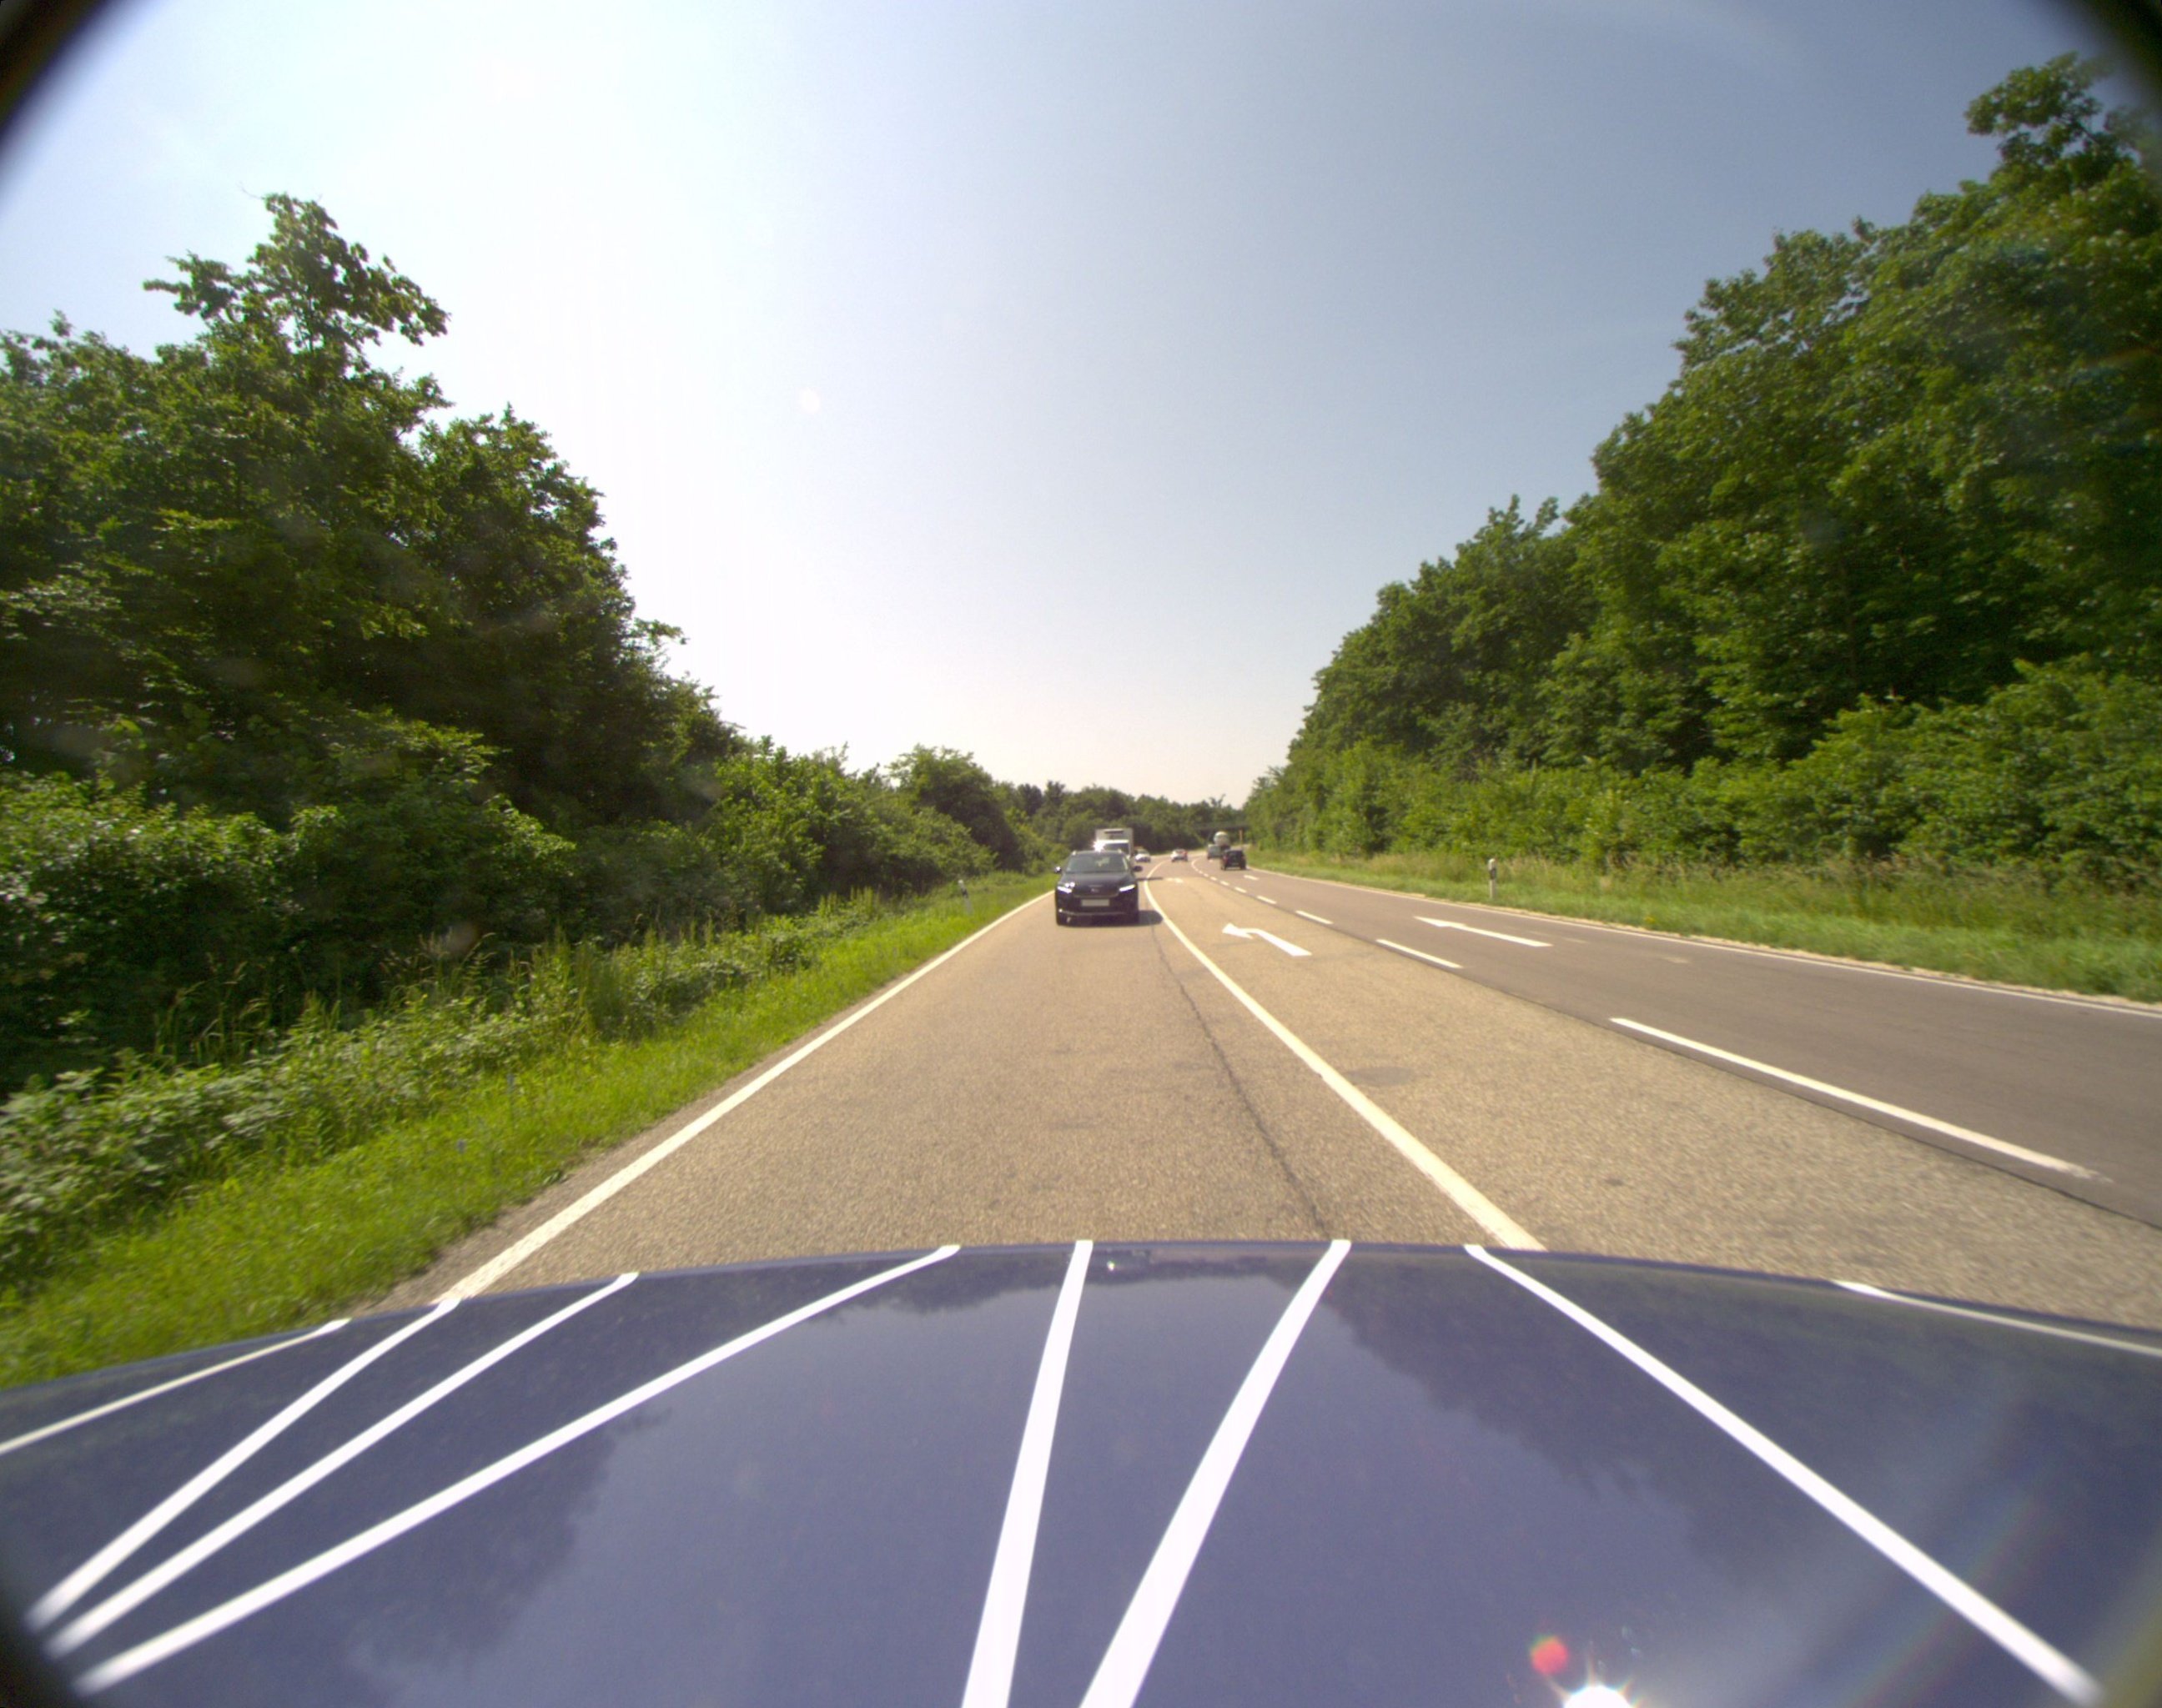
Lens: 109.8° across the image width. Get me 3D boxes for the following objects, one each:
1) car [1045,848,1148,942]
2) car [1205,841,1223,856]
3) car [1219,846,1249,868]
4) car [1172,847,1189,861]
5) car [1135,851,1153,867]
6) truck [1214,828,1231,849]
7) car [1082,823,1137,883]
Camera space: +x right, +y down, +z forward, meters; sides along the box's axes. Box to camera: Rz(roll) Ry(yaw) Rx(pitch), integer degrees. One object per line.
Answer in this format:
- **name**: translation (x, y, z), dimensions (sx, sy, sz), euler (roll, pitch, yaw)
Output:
- **car**: translation (0.334, 0.759, 17.328), dimensions (1.924, 1.711, 5.477), euler (-1, 1, 1)
- **car**: translation (16.570, -0.726, 94.794), dimensions (1.846, 1.769, 4.896), euler (-2, 0, 7)
- **car**: translation (10.950, 0.193, 54.556), dimensions (1.618, 1.493, 3.553), euler (-2, 0, 4)
- **car**: translation (11.604, -0.030, 88.433), dimensions (1.711, 1.411, 4.100), euler (-2, 1, 9)
- **car**: translation (7.767, 0.626, 93.774), dimensions (1.809, 1.797, 4.000), euler (-2, 0, -1)
- **truck**: translation (25.983, -2.830, 138.817), dimensions (2.631, 3.650, 8.803), euler (-2, 1, 13)
- **car**: translation (1.733, -0.141, 43.005), dimensions (2.591, 3.047, 6.883), euler (-2, 1, 6)
